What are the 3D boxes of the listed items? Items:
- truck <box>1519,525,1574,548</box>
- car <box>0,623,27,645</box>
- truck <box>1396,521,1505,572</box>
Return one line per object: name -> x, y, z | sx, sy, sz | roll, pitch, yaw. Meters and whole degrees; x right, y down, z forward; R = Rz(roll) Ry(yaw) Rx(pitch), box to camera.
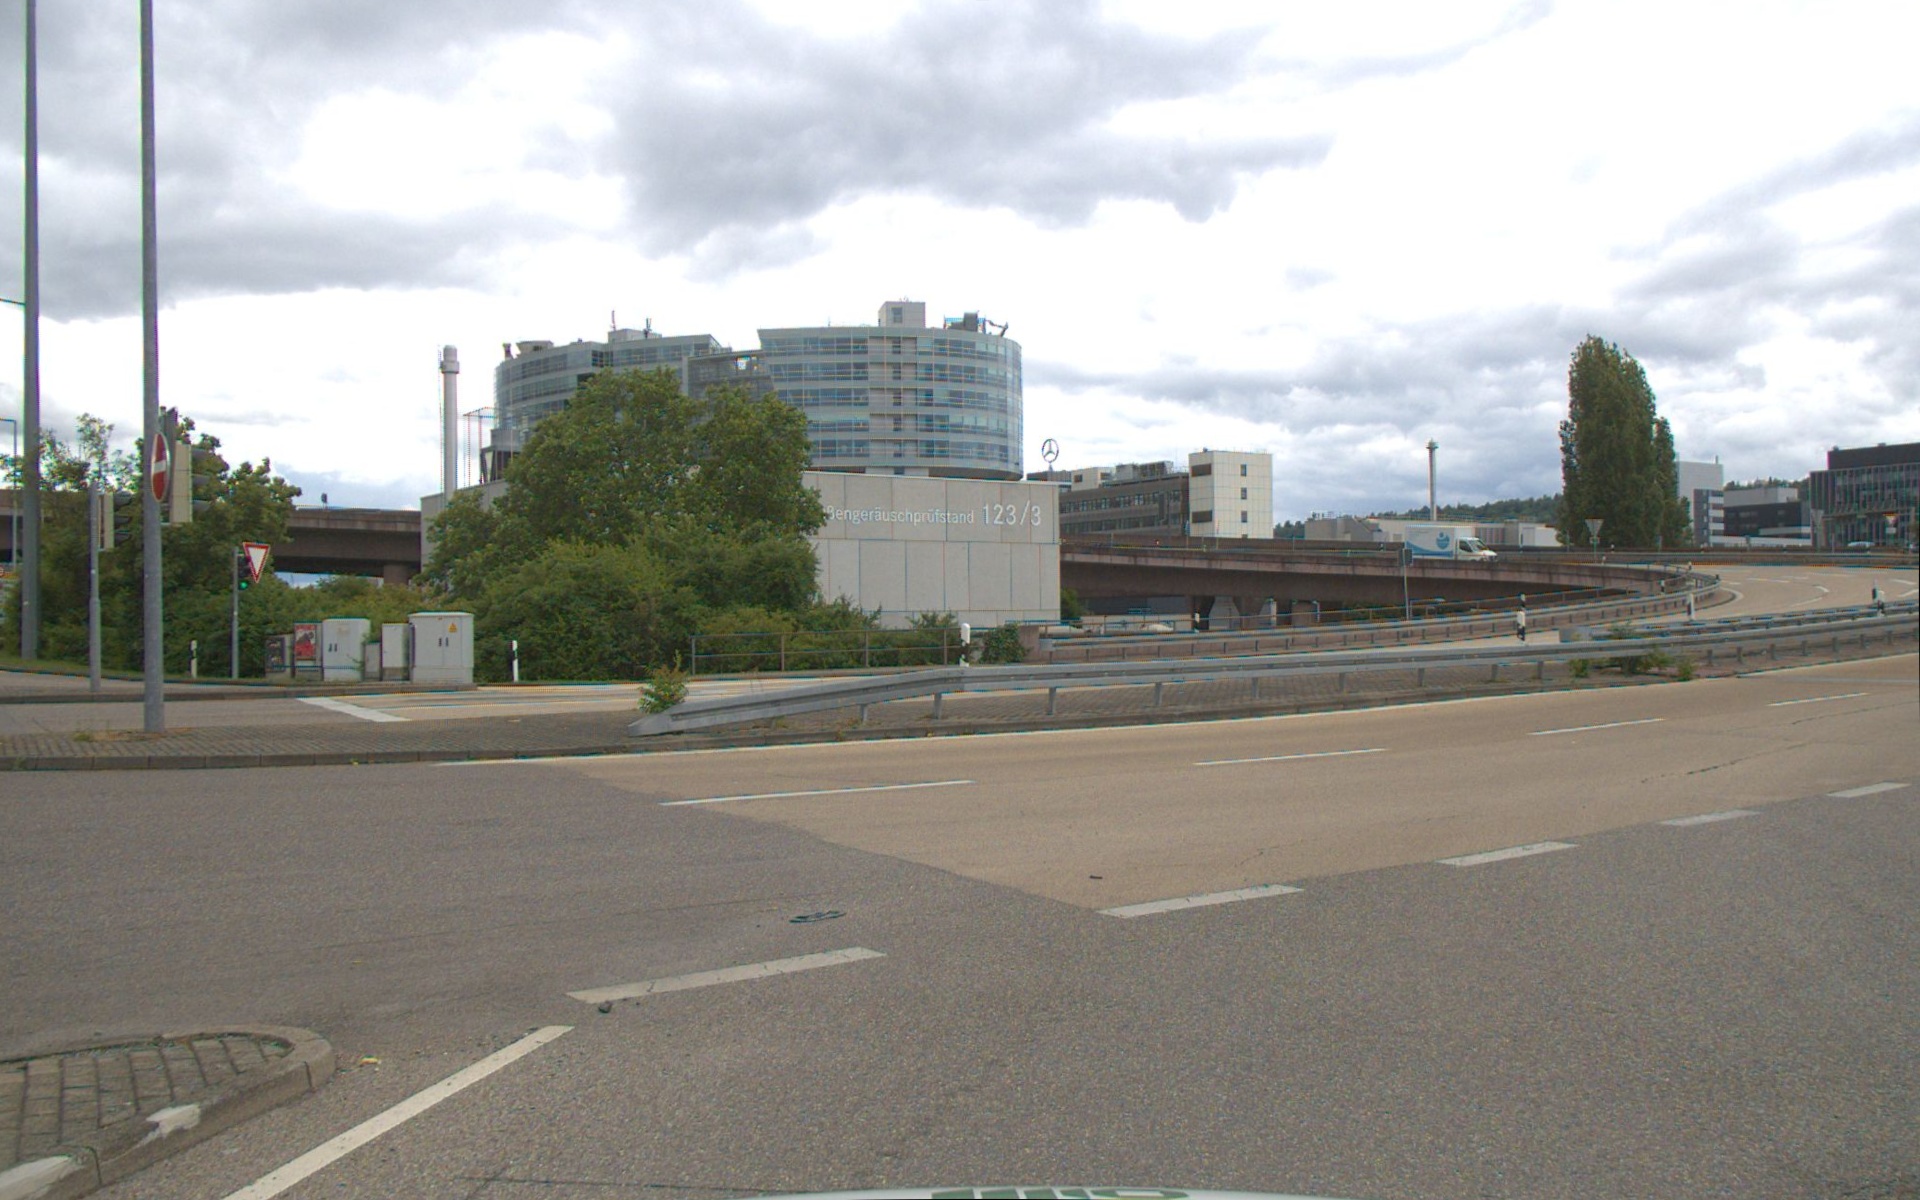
truck -> 63.832, -6.884, 179.996 | 5.530, 2.201, 1.991 | 1, -1, -16
car -> -69.242, 2.507, 120.419 | 1.969, 1.490, 4.075 | 2, -3, -26
truck -> 34.709, -3.733, 117.256 | 2.310, 3.327, 7.237 | 2, -1, -42
